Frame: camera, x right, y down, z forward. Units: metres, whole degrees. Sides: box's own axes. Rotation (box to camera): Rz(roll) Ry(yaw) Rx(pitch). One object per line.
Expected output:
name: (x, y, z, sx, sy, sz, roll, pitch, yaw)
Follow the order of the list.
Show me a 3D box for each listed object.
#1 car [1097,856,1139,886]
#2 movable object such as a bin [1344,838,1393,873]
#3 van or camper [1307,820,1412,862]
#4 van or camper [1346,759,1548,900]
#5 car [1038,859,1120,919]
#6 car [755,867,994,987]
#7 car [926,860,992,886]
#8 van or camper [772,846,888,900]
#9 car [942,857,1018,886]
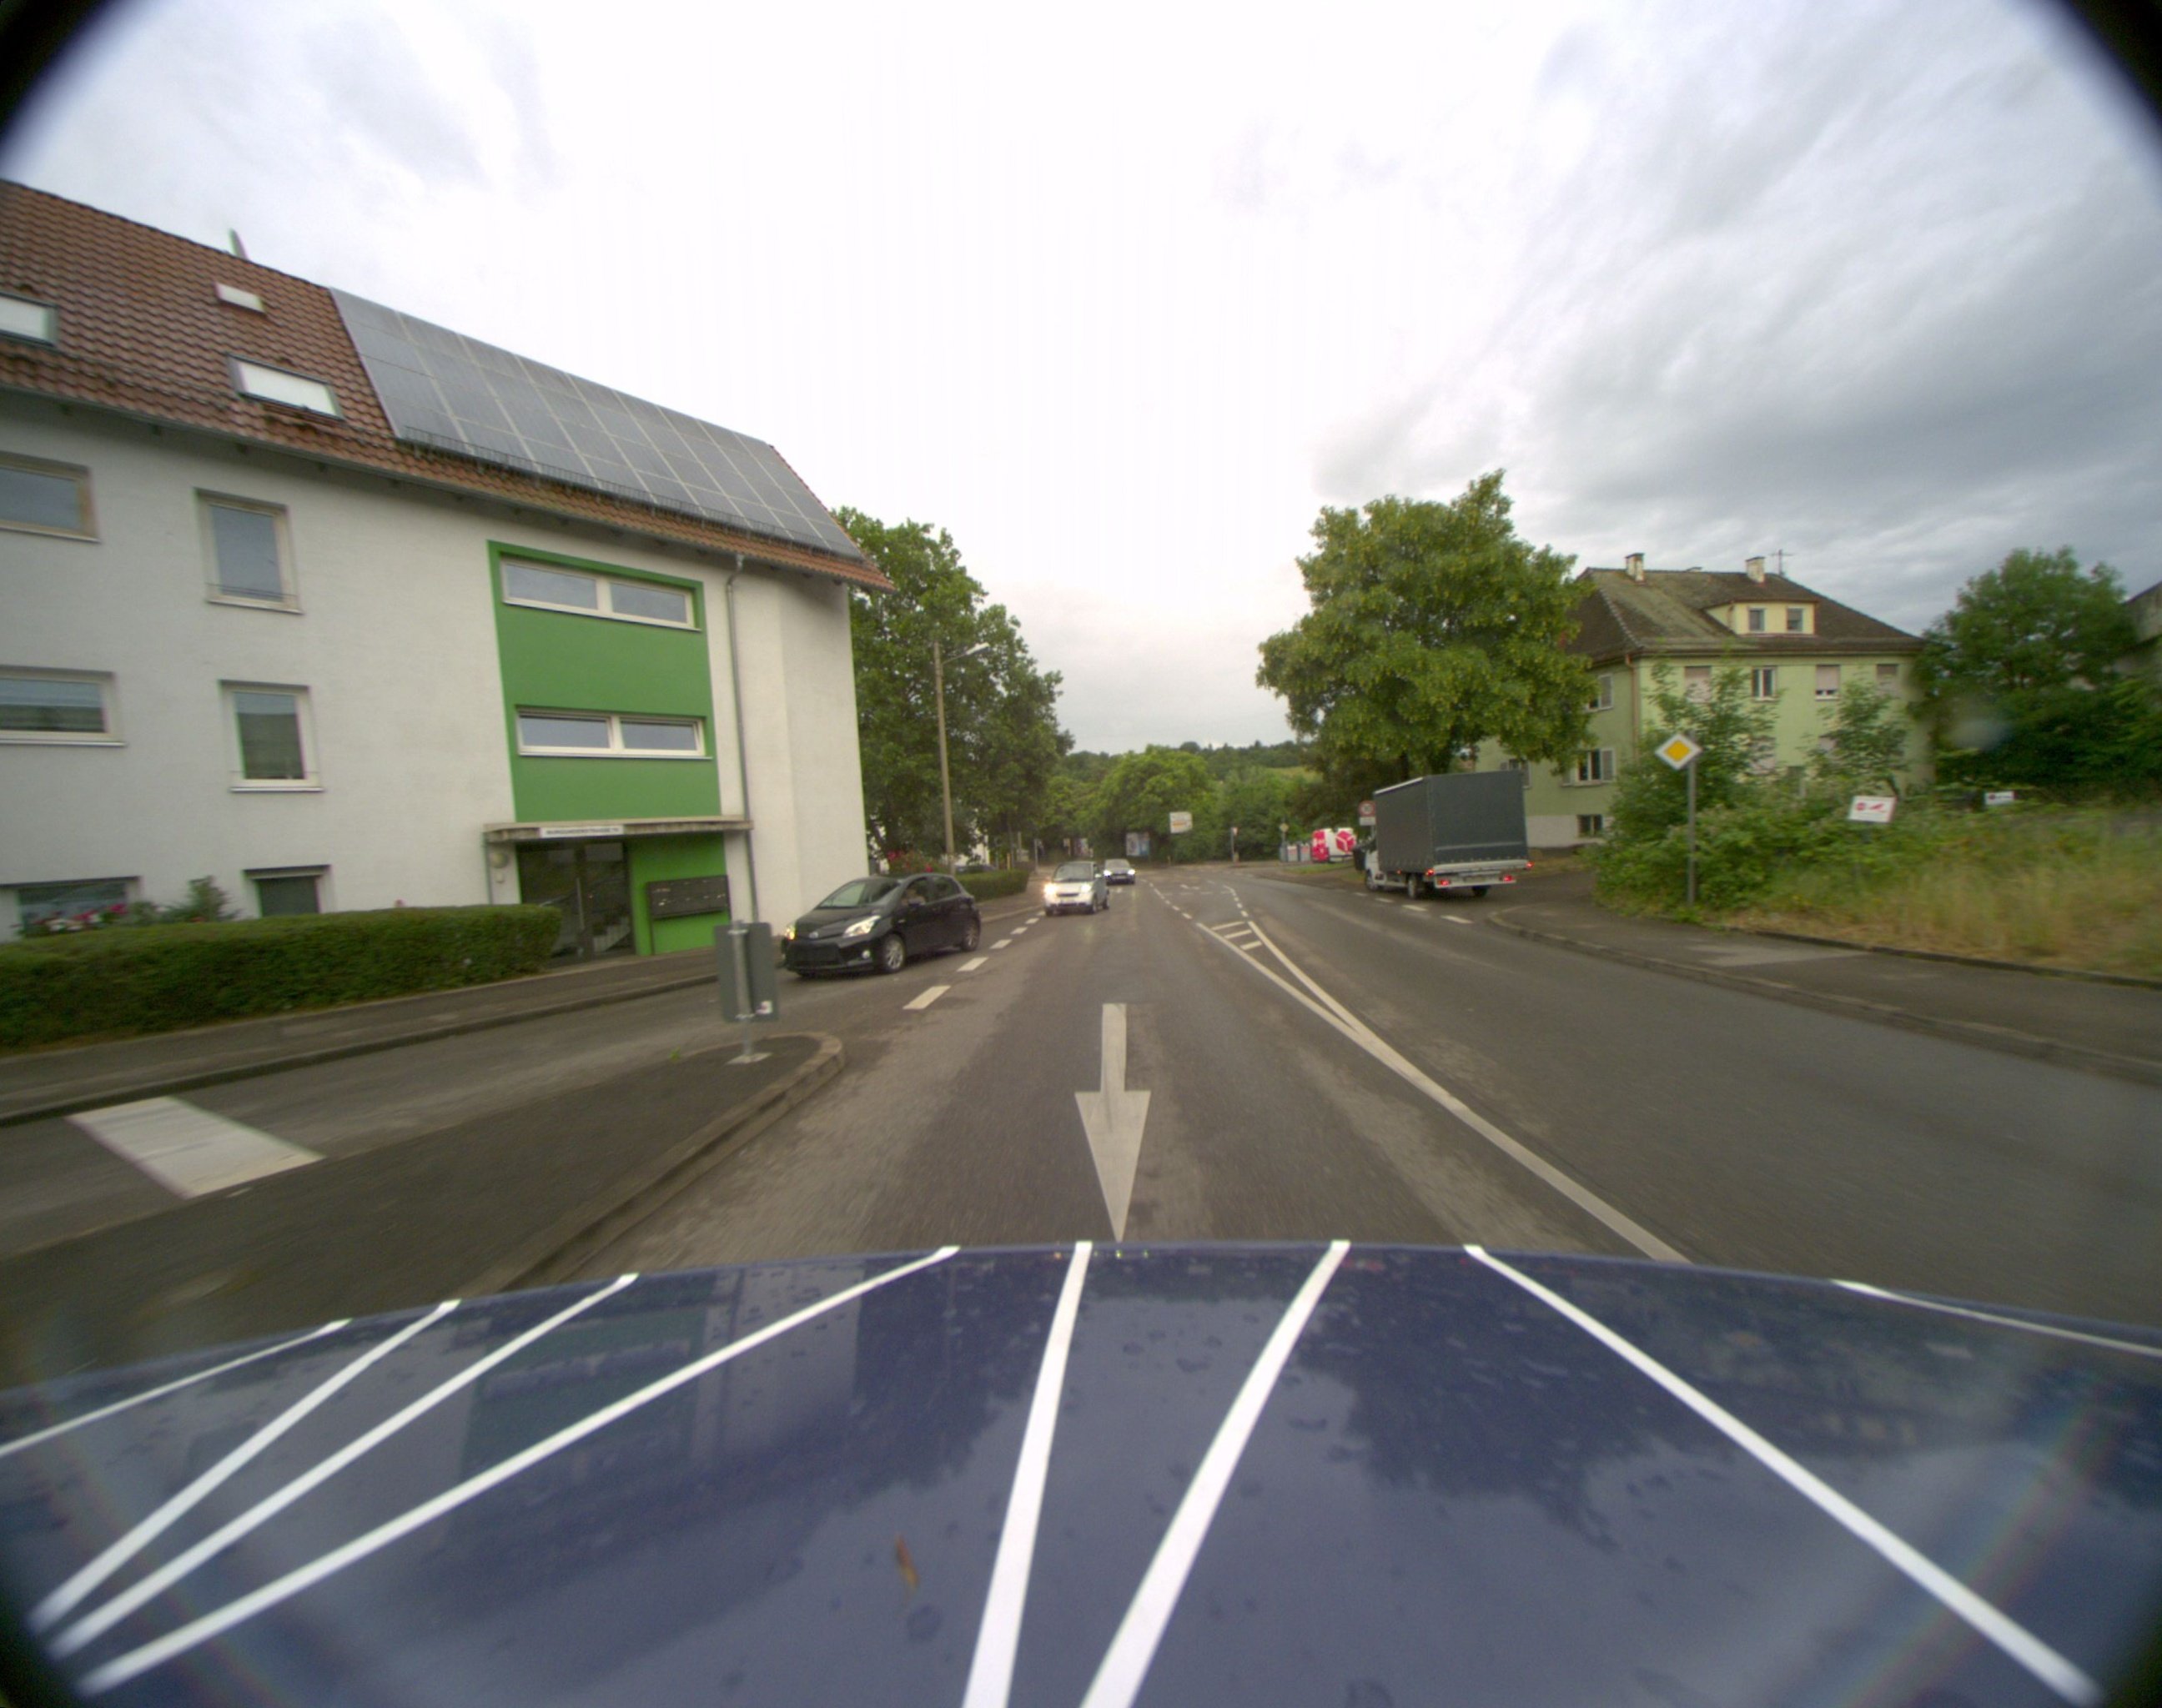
car: (2.079, 0.955, 43.726, 1.708, 1.548, 3.998, -4, 0, -6)
movable object such as a bin: (13.351, 0.055, 35.278, 1.475, 1.432, 1.374, -4, -2, -33)
van or camper: (19.363, -0.903, 52.945, 6.700, 2.507, 2.220, -4, 1, -15)
van or camper: (10.373, -0.627, 22.638, 2.704, 3.315, 7.764, -4, 0, 5)
car: (0.025, 1.007, 23.312, 1.643, 1.548, 3.631, -4, 0, 13)
car: (-3.123, 1.070, 12.415, 1.642, 1.449, 4.005, -4, 0, 20)
car: (-8.080, 1.214, 50.459, 4.003, 1.455, 1.858, -3, 1, -19)
van or camper: (-10.485, 0.774, 31.838, 4.331, 1.893, 1.997, -4, 1, -20)
car: (-6.361, 1.092, 47.842, 4.395, 1.504, 1.997, -4, 0, -18)
